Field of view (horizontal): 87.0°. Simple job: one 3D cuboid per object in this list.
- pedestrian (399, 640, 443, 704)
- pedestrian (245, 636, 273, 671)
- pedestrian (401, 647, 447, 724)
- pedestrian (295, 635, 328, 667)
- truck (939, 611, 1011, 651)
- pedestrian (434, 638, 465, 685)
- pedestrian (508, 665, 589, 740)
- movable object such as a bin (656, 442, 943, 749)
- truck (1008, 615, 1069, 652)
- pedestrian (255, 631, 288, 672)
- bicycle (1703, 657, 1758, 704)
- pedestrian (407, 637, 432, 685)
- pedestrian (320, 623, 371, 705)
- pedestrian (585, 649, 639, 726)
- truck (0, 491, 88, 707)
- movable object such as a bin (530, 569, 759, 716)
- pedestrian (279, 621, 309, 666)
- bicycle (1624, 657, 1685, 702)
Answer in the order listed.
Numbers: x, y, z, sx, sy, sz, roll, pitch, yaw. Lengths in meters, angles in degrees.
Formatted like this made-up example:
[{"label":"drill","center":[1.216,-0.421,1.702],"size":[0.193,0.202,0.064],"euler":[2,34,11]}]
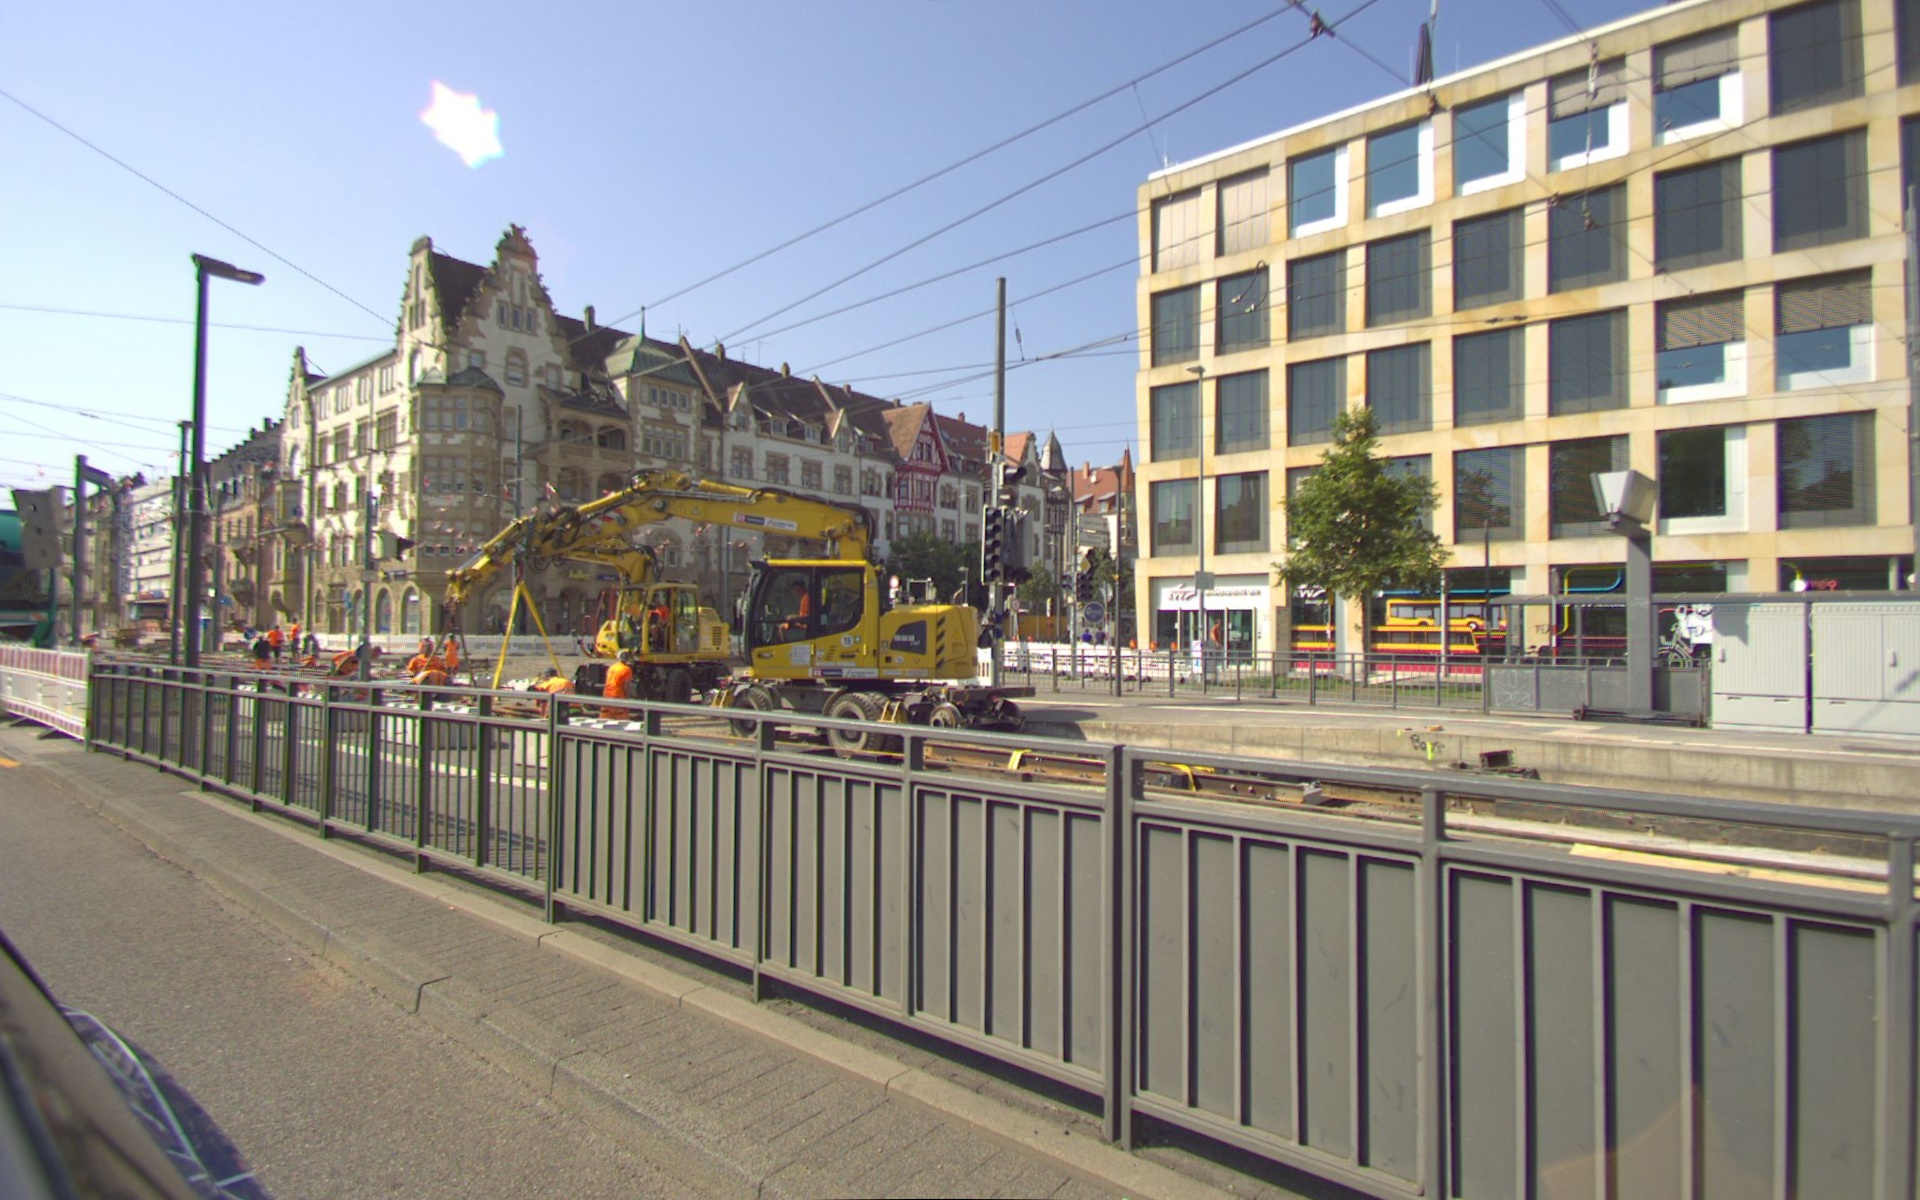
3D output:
[{"label":"pedestrian","center":[-10.281,1.357,19.298],"size":[0.691,1.186,0.704],"euler":[2,-3,-29]},{"label":"pedestrian","center":[-25.162,1.919,36.334],"size":[0.547,1.256,0.669],"euler":[-2,-3,39]},{"label":"pedestrian","center":[-9.759,1.531,18.417],"size":[0.691,1.345,0.839],"euler":[2,-3,-29]},{"label":"pedestrian","center":[-25.720,2.020,40.111],"size":[0.864,1.192,0.723],"euler":[1,-4,33]},{"label":"truck","center":[1.264,2.505,81.086],"size":[2.627,3.067,6.276],"euler":[-2,-3,37]},{"label":"pedestrian","center":[-18.961,2.259,37.602],"size":[0.758,1.715,0.731],"euler":[-2,-3,39]},{"label":"pedestrian","center":[-5.644,1.383,13.890],"size":[0.881,0.962,0.693],"euler":[-2,-3,41]},{"label":"movable object such as a bin","center":[-2.835,0.032,17.630],"size":[4.211,4.589,2.954],"euler":[-2,-4,43]},{"label":"truck","center":[6.895,2.934,88.198],"size":[2.235,3.067,6.276],"euler":[-2,-3,37]},{"label":"pedestrian","center":[-26.615,1.977,39.127],"size":[0.727,1.568,0.753],"euler":[1,-2,-2]},{"label":"bicycle","center":[17.588,1.813,23.084],"size":[0.944,0.975,2.406],"euler":[-2,-3,38]},{"label":"pedestrian","center":[-19.826,2.227,37.093],"size":[0.728,1.715,0.761],"euler":[2,-3,-30]},{"label":"pedestrian","center":[-11.537,1.197,19.016],"size":[0.730,1.490,0.705],"euler":[2,-3,-27]},{"label":"pedestrian","center":[-5.385,1.340,15.708],"size":[0.691,1.164,0.589],"euler":[1,-3,-10]},{"label":"truck","center":[-20.956,0.041,20.066],"size":[8.982,3.818,2.787],"euler":[-1,-4,31]},{"label":"movable object such as a bin","center":[-7.633,1.041,24.881],"size":[3.548,3.248,4.090],"euler":[-1,-3,25]},{"label":"pedestrian","center":[-25.587,1.676,38.894],"size":[0.678,1.715,0.743],"euler":[-2,-3,40]},{"label":"bicycle","center":[16.464,1.853,23.978],"size":[1.019,0.975,2.406],"euler":[-2,-3,38]}]
